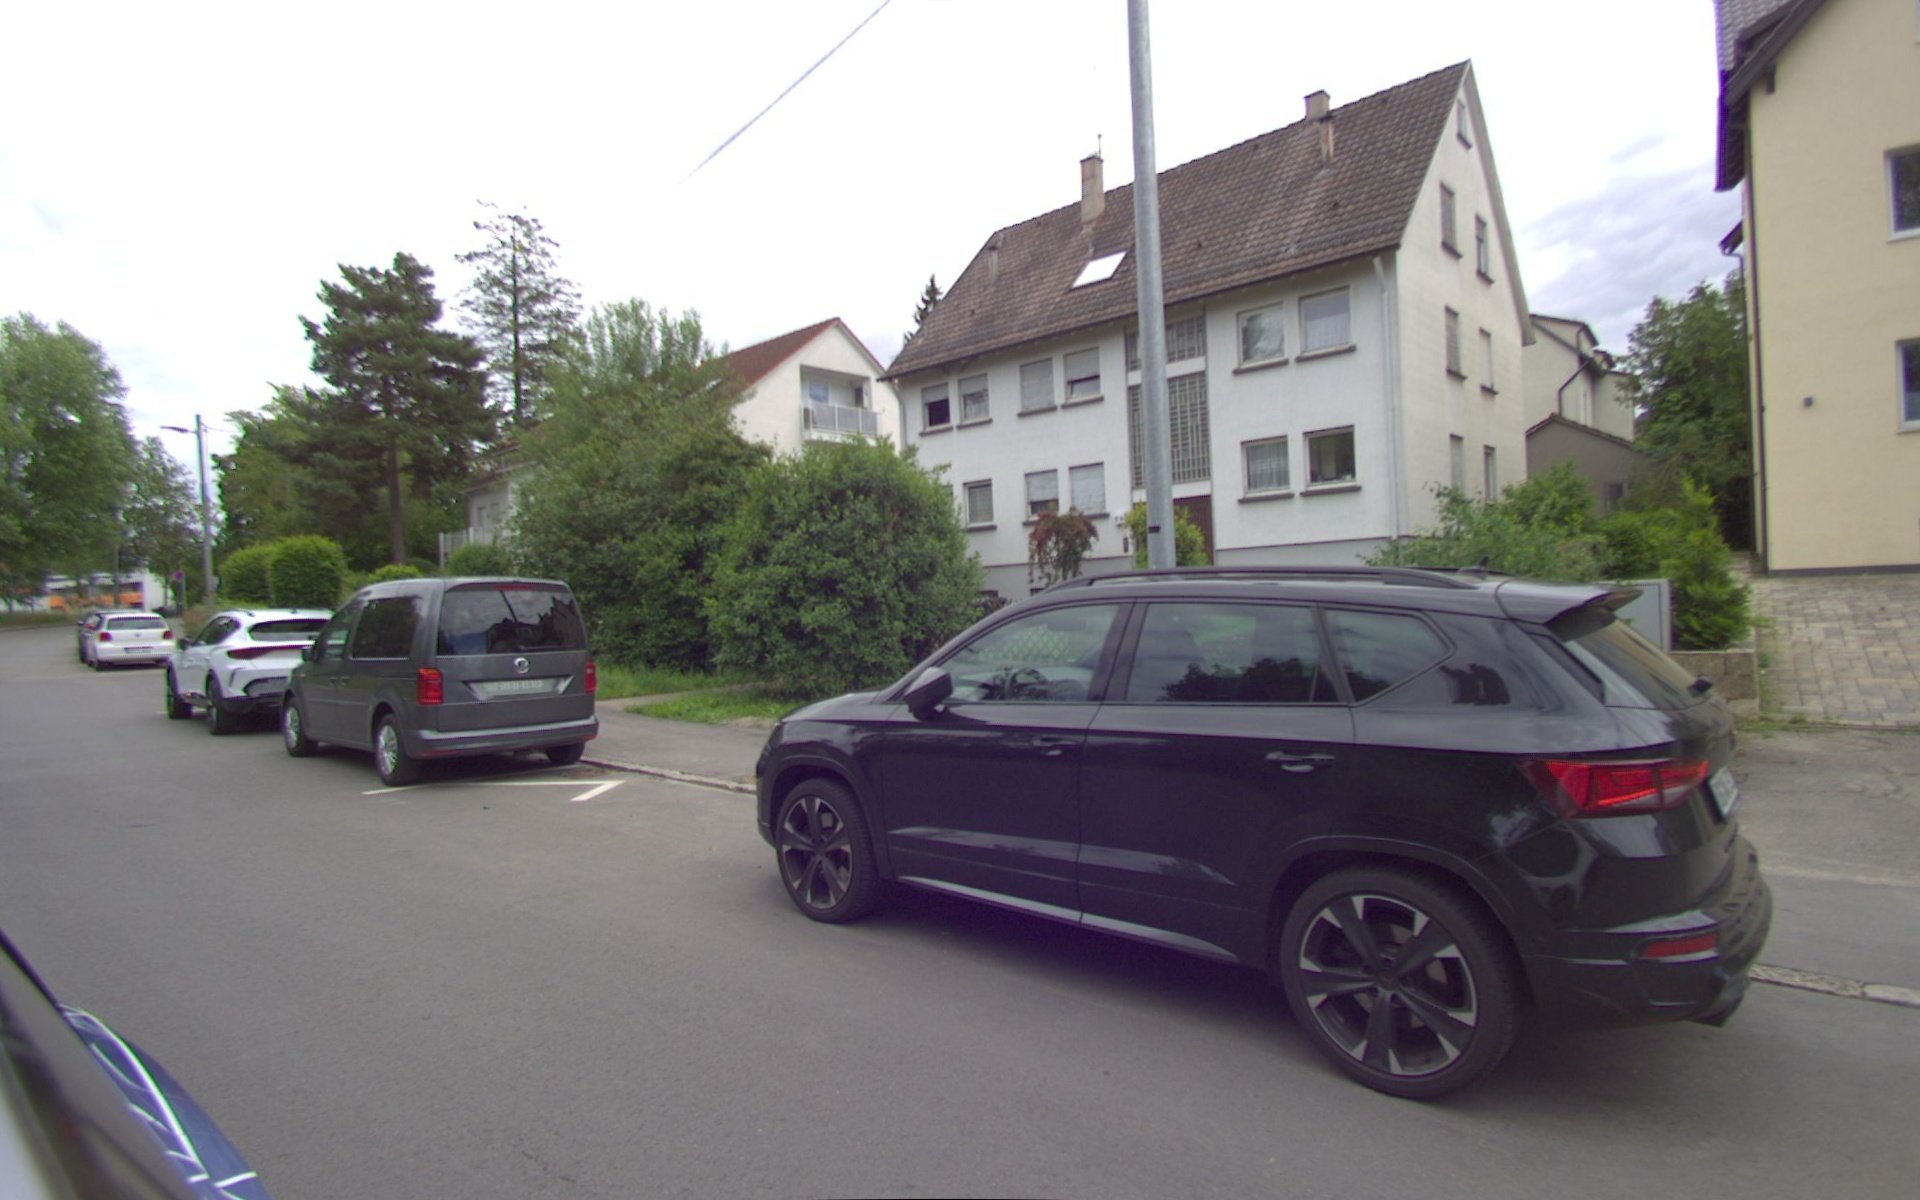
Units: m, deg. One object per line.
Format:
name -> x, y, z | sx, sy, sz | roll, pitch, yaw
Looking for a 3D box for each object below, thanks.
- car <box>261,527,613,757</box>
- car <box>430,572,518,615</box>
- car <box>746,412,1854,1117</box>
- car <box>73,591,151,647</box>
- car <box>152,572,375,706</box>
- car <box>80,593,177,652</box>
car -> -5.304, 0.334, 10.033 | 4.063, 1.814, 1.777 | -1, 0, 42
car -> -16.218, -0.180, 33.680 | 1.626, 1.342, 3.908 | 0, 0, -42
car -> 1.017, 0.376, 4.262 | 4.076, 1.593, 1.644 | -1, 0, 41
car -> -25.055, 0.525, 29.866 | 1.583, 1.541, 3.591 | -1, 0, -43
car -> -9.368, 0.445, 13.488 | 4.045, 1.516, 1.643 | -1, 0, 43
car -> -22.037, 0.558, 26.782 | 1.712, 1.439, 3.460 | -1, 1, -44
